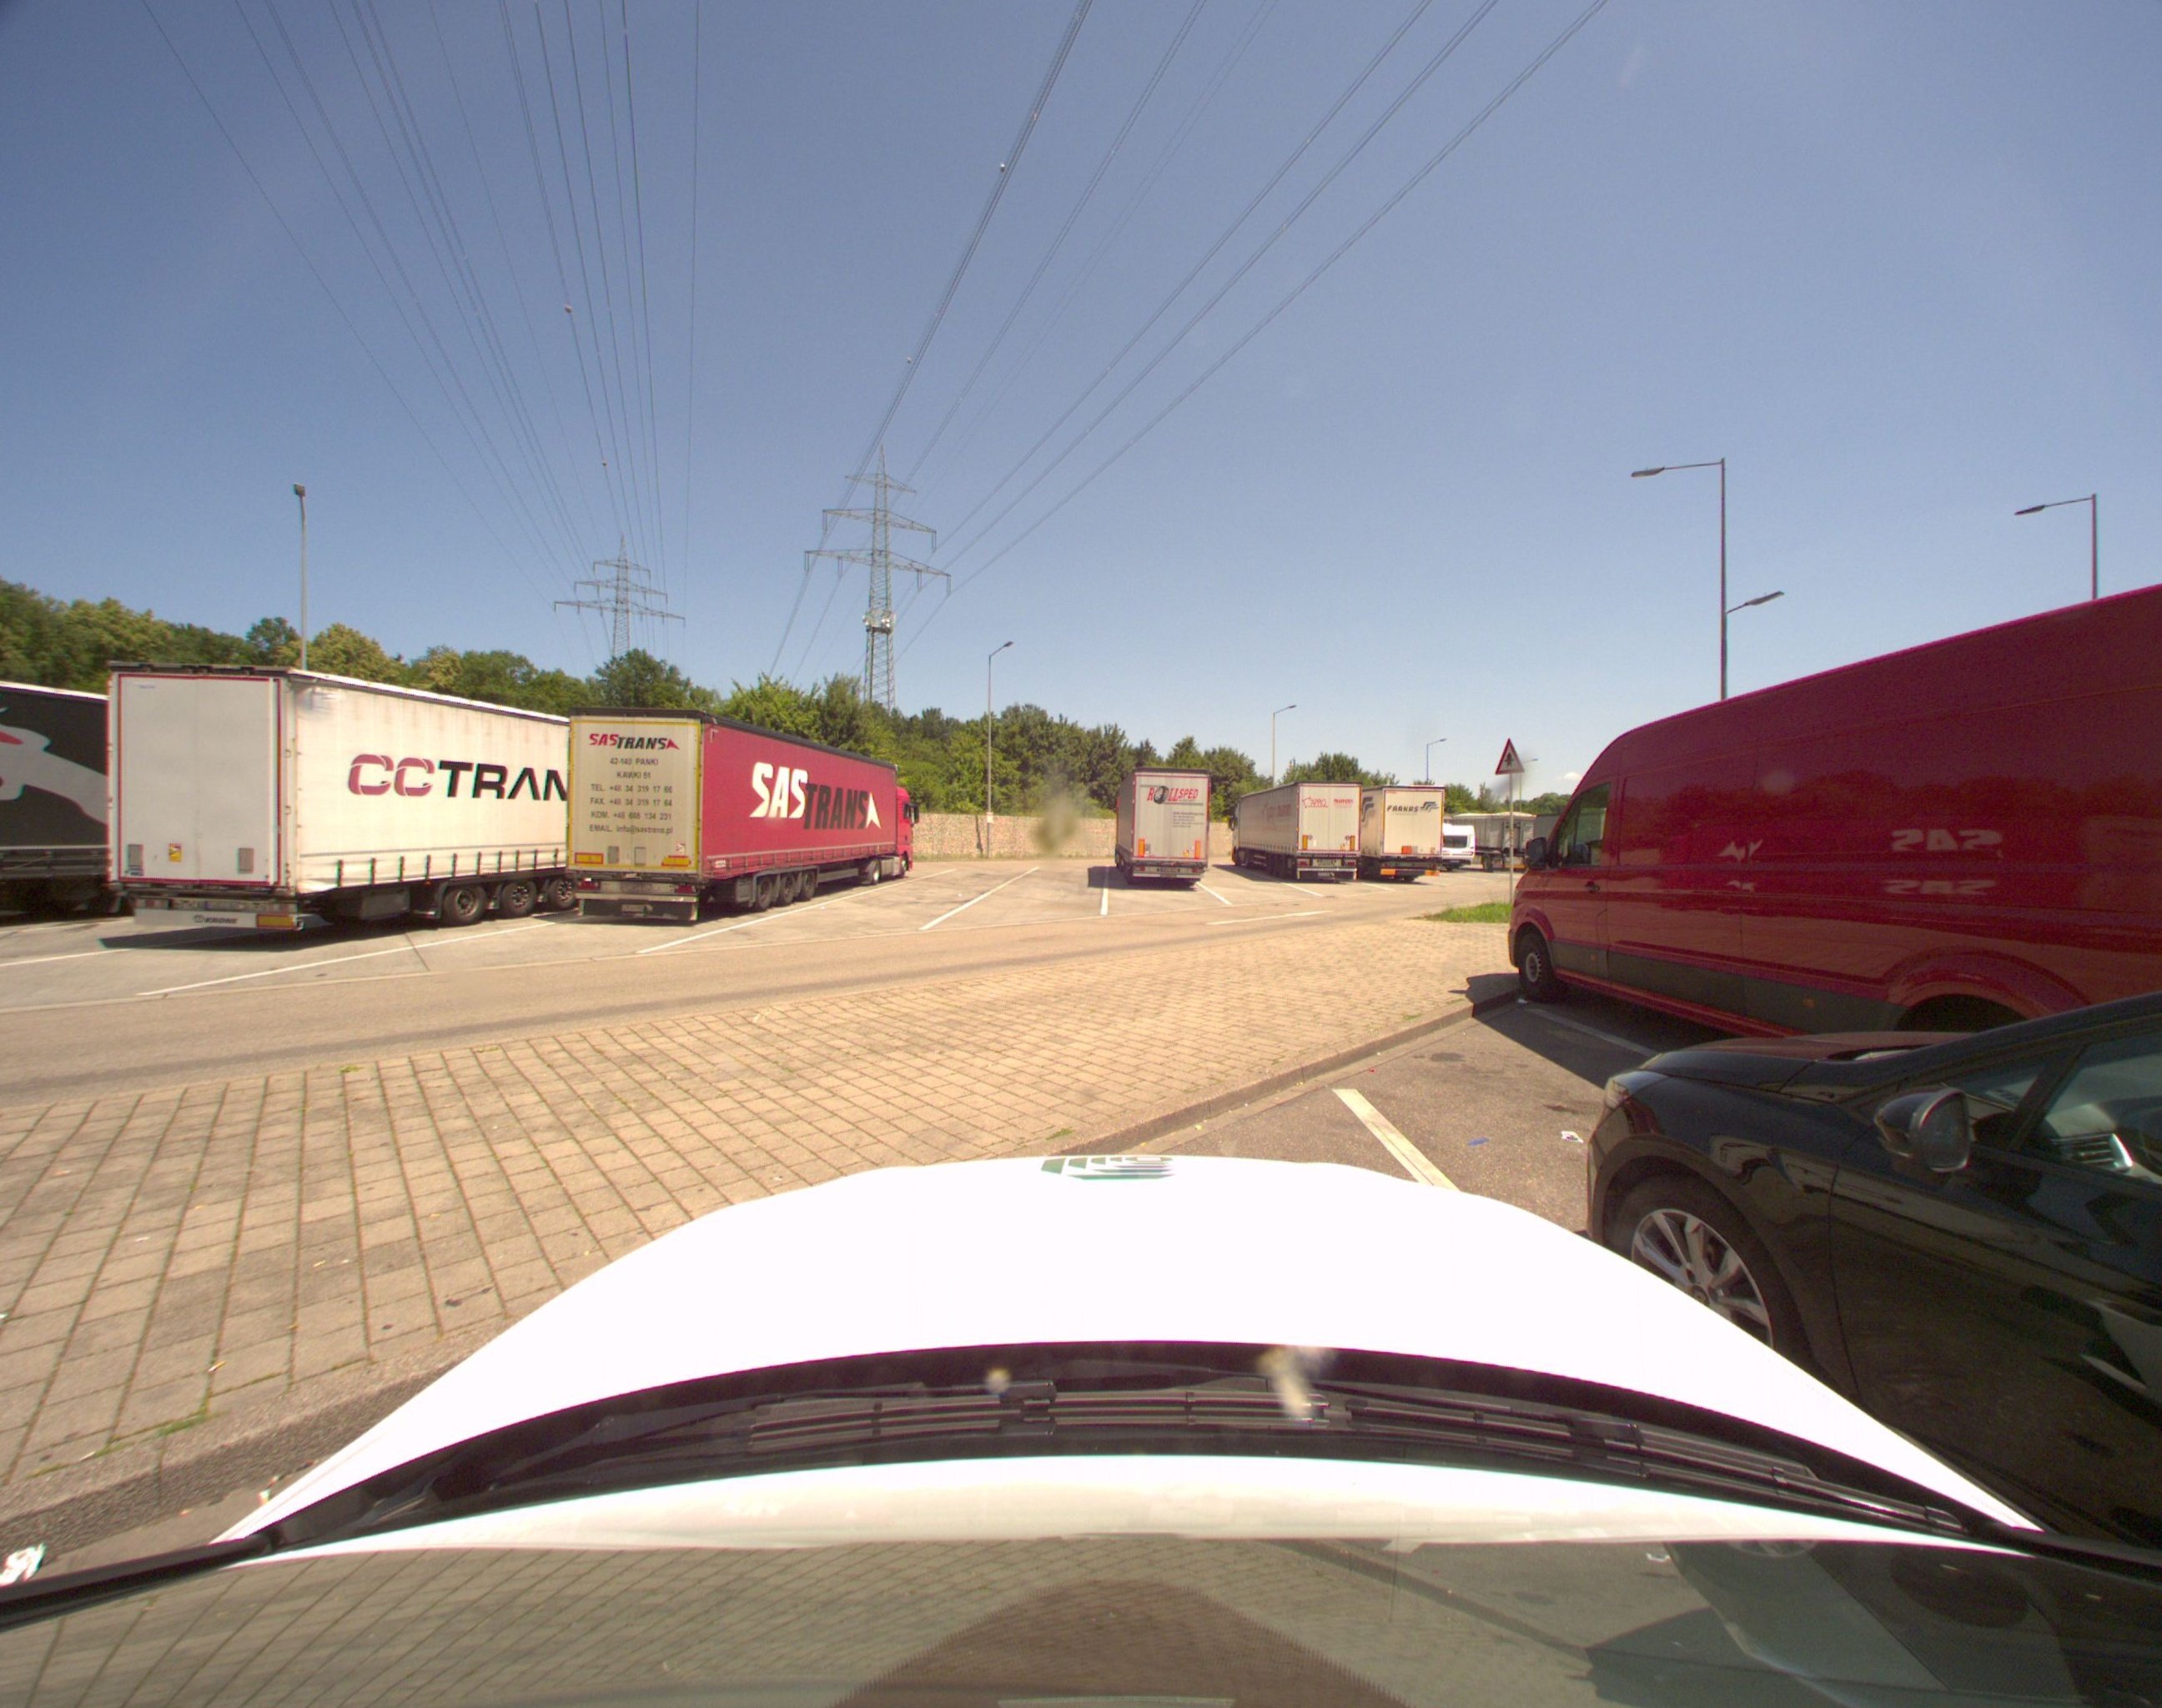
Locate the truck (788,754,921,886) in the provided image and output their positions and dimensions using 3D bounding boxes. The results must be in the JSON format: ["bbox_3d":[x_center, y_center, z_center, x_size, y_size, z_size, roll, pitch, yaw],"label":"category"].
[{"bbox_3d":[-7.754,-1.117,28.719,2.795,4.133,5.896,-1,1,2],"label":"truck"}]

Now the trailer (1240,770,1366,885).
[{"bbox_3d":[9.899,-1.120,38.150,2.672,4.452,12.833,-1,1,1],"label":"trailer"}]

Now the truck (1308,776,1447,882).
[{"bbox_3d":[13.530,-0.948,38.609,2.577,4.226,11.974,0,-1,2],"label":"truck"}]

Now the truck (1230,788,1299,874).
[{"bbox_3d":[10.075,-1.240,45.249,2.651,4.452,5.866,-1,1,2],"label":"truck"}]

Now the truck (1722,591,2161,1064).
[{"bbox_3d":[7.789,-0.156,6.000,2.508,2.827,4.821,0,-1,3],"label":"truck"}]

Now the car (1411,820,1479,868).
[{"bbox_3d":[20.534,-0.529,46.139,2.107,2.599,4.001,0,-1,2],"label":"car"}]

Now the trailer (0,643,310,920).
[{"bbox_3d":[-18.564,-1.174,14.991,2.668,4.444,6.151,-1,1,2],"label":"trailer"}]

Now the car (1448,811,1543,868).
[{"bbox_3d":[24.132,-0.834,47.761,2.490,3.074,6.353,-1,1,2],"label":"car"}]

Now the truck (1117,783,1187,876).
[{"bbox_3d":[3.168,-1.095,37.877,2.861,3.980,6.032,-1,1,1],"label":"truck"}]

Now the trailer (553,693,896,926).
[{"bbox_3d":[-8.003,-0.895,21.463,2.789,4.219,13.208,-1,1,2],"label":"trailer"}]

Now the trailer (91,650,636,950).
[{"bbox_3d":[-12.188,-0.806,15.416,2.744,4.152,8.291,0,1,2],"label":"trailer"}]

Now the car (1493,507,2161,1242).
[{"bbox_3d":[5.117,0.028,5.502,1.984,2.633,6.393,-1,1,5],"label":"car"}]

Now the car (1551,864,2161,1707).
[{"bbox_3d":[2.552,0.752,0.890,1.773,1.457,3.680,0,-1,-4],"label":"car"}]

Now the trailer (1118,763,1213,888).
[{"bbox_3d":[3.010,-1.006,32.202,2.886,4.013,11.322,-1,1,2],"label":"trailer"}]
